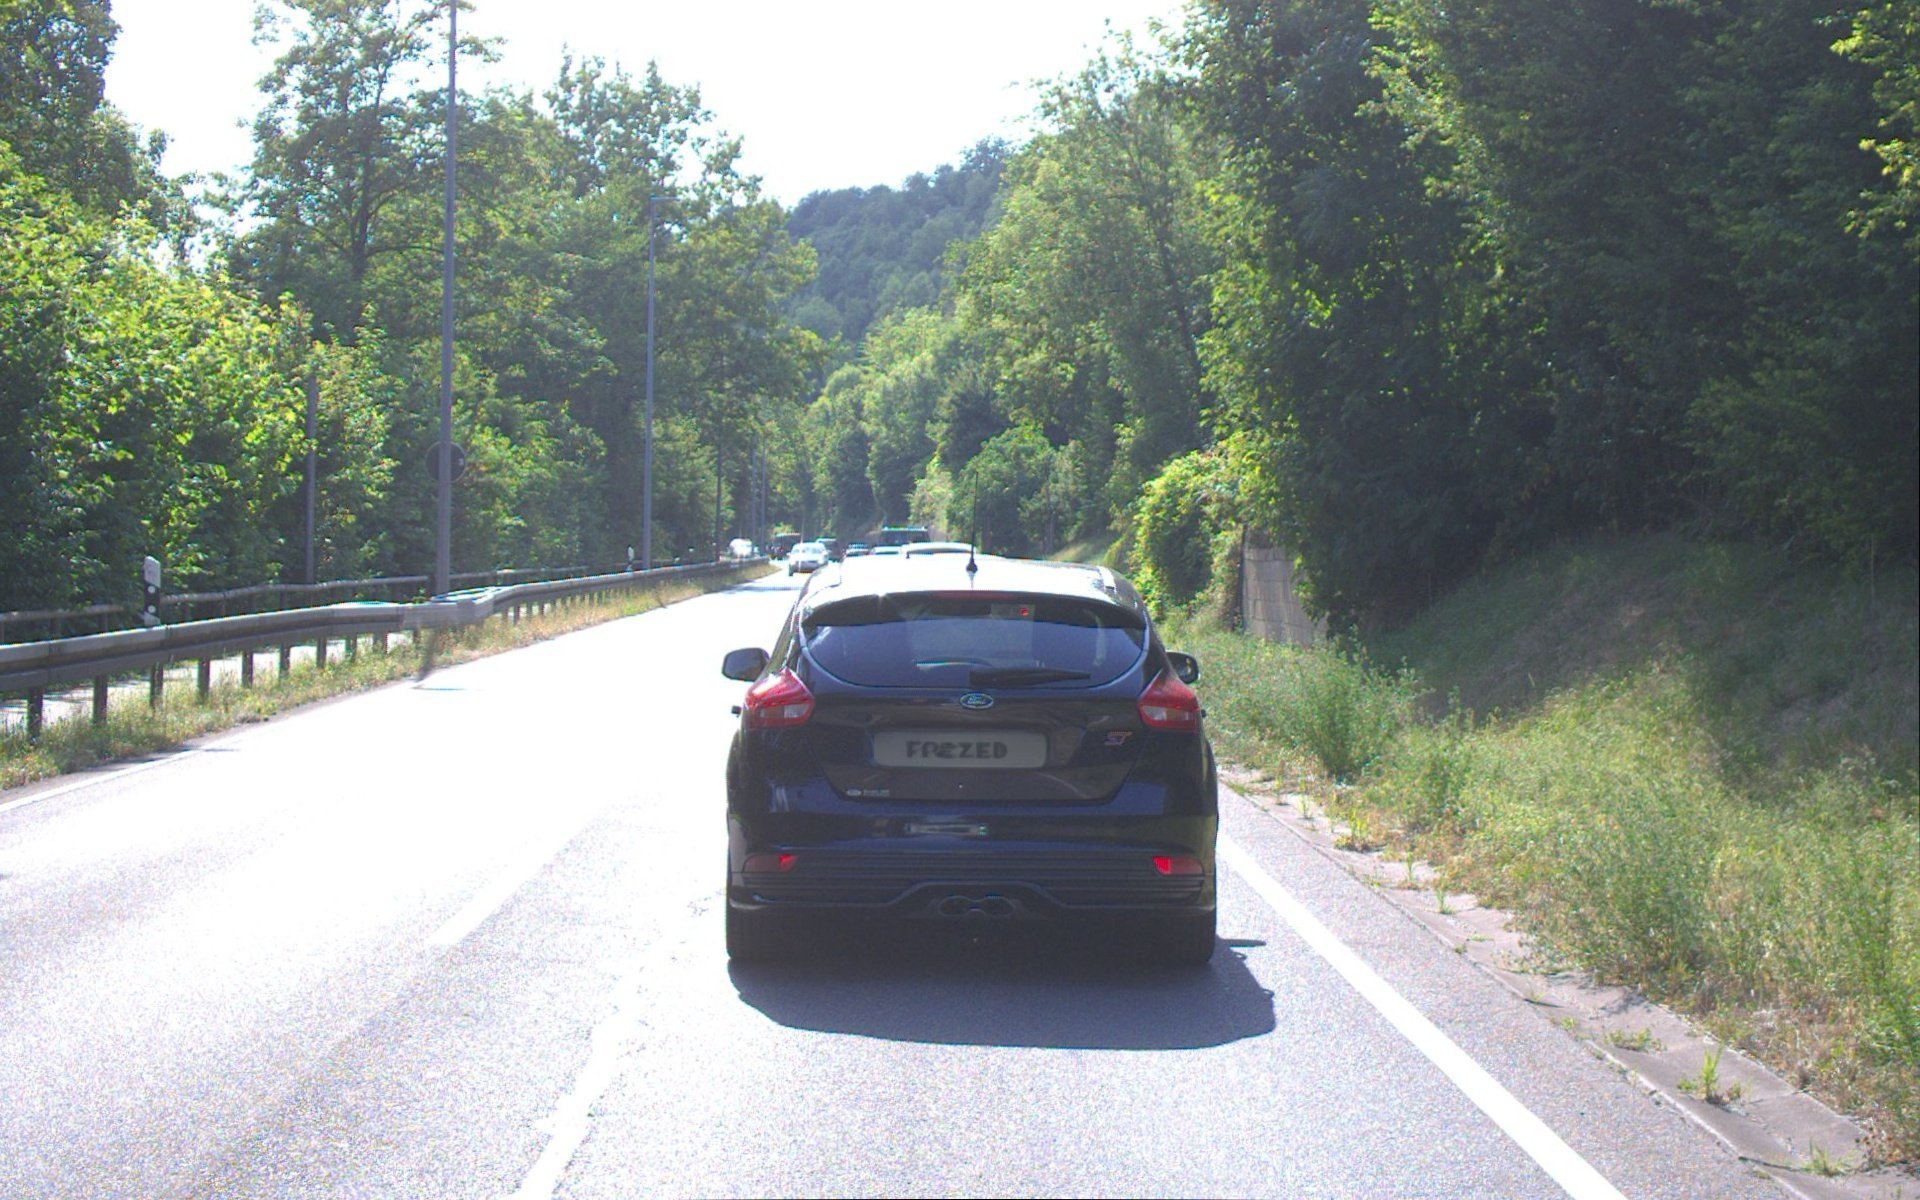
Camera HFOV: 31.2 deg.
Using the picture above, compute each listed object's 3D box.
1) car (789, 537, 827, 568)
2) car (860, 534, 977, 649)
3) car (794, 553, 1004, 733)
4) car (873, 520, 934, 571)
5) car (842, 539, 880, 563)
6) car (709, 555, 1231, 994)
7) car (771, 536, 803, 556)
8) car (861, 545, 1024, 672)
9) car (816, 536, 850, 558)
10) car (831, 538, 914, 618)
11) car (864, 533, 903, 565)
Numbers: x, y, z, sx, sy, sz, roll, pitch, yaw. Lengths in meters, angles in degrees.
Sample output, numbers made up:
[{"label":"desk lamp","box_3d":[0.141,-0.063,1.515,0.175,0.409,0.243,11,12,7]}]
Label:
[{"label":"car","box_3d":[-6.884,-2.166,155.739,1.623,1.372,4.048,-1,1,-1]},{"label":"car","box_3d":[-0.602,-0.158,49.990,1.631,1.590,4.000,0,1,-1]},{"label":"car","box_3d":[-0.461,0.314,29.434,1.661,1.413,4.000,0,1,1]},{"label":"car","box_3d":[-2.006,-1.920,121.512,1.862,1.774,4.001,0,1,-5]},{"label":"car","box_3d":[-6.352,-3.173,220.105,1.993,1.514,4.001,0,1,-8]},{"label":"car","box_3d":[0.015,0.562,13.568,1.739,1.451,4.000,1,1,-1]},{"label":"car","box_3d":[-12.921,-4.045,256.831,1.993,1.514,4.001,0,1,-8]},{"label":"car","box_3d":[-0.215,0.061,40.134,1.804,1.387,4.000,0,1,-1]},{"label":"car","box_3d":[-8.870,-3.730,240.355,1.993,1.514,4.001,0,1,-8]},{"label":"car","box_3d":[-1.769,-0.475,70.447,1.631,1.590,4.000,0,1,-1]},{"label":"car","box_3d":[-3.671,-2.460,165.792,1.819,1.514,4.000,0,1,-1]}]
